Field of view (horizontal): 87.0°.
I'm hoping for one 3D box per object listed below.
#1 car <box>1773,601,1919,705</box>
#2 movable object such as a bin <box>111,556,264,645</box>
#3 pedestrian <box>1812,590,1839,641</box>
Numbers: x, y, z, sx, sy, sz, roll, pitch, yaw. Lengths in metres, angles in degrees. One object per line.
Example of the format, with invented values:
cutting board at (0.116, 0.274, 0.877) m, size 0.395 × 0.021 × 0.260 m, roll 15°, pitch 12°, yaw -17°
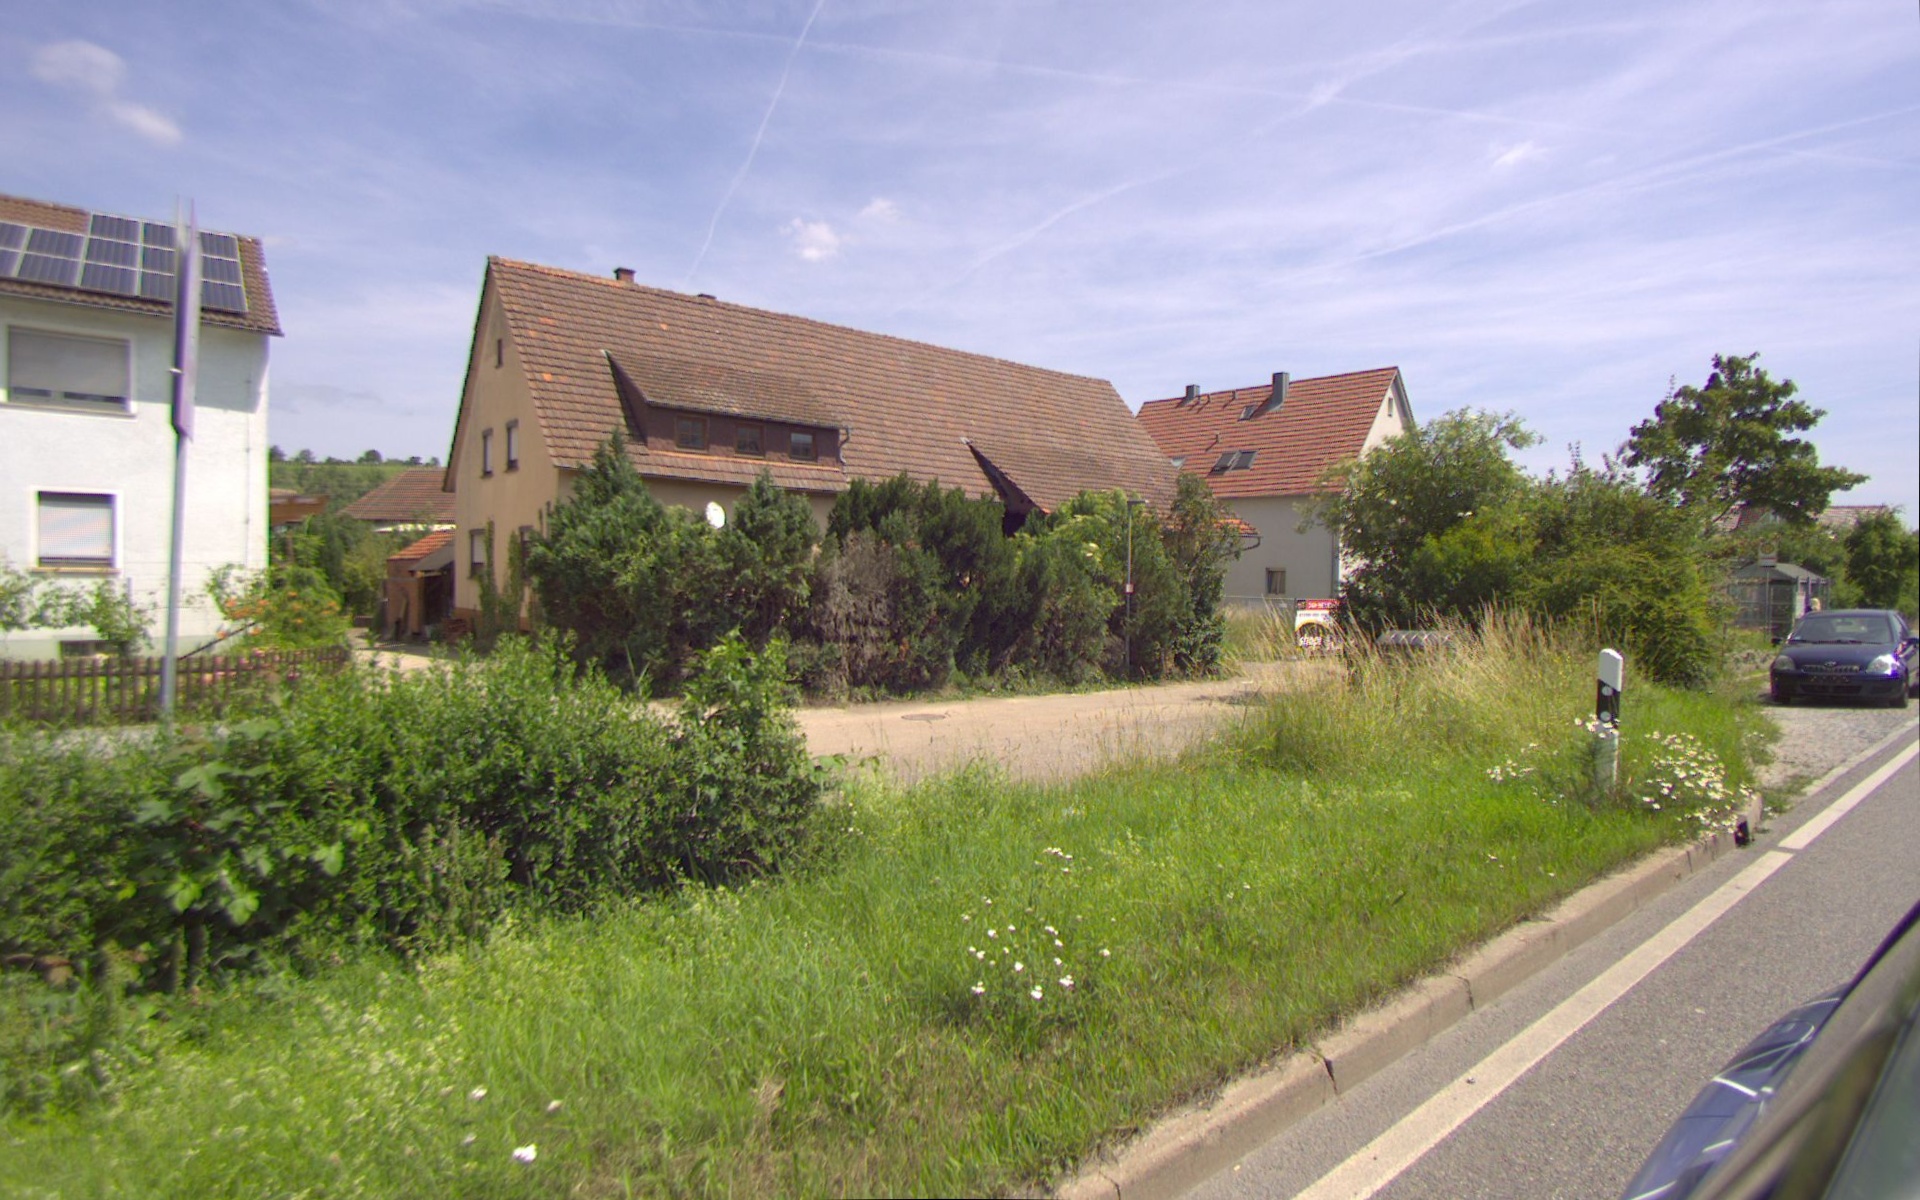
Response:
car at (14.766, 0.809, 16.580) m, size 3.491 × 1.504 × 1.633 m, roll 0°, pitch -2°, yaw -42°
movable object such as a bin at (-26.229, 0.070, 34.410) m, size 3.929 × 2.797 × 1.838 m, roll 3°, pitch -2°, yaw -41°
pedestrian at (26.691, 0.465, 31.211) m, size 0.517 × 1.568 × 0.556 m, roll 0°, pitch 1°, yaw 31°
